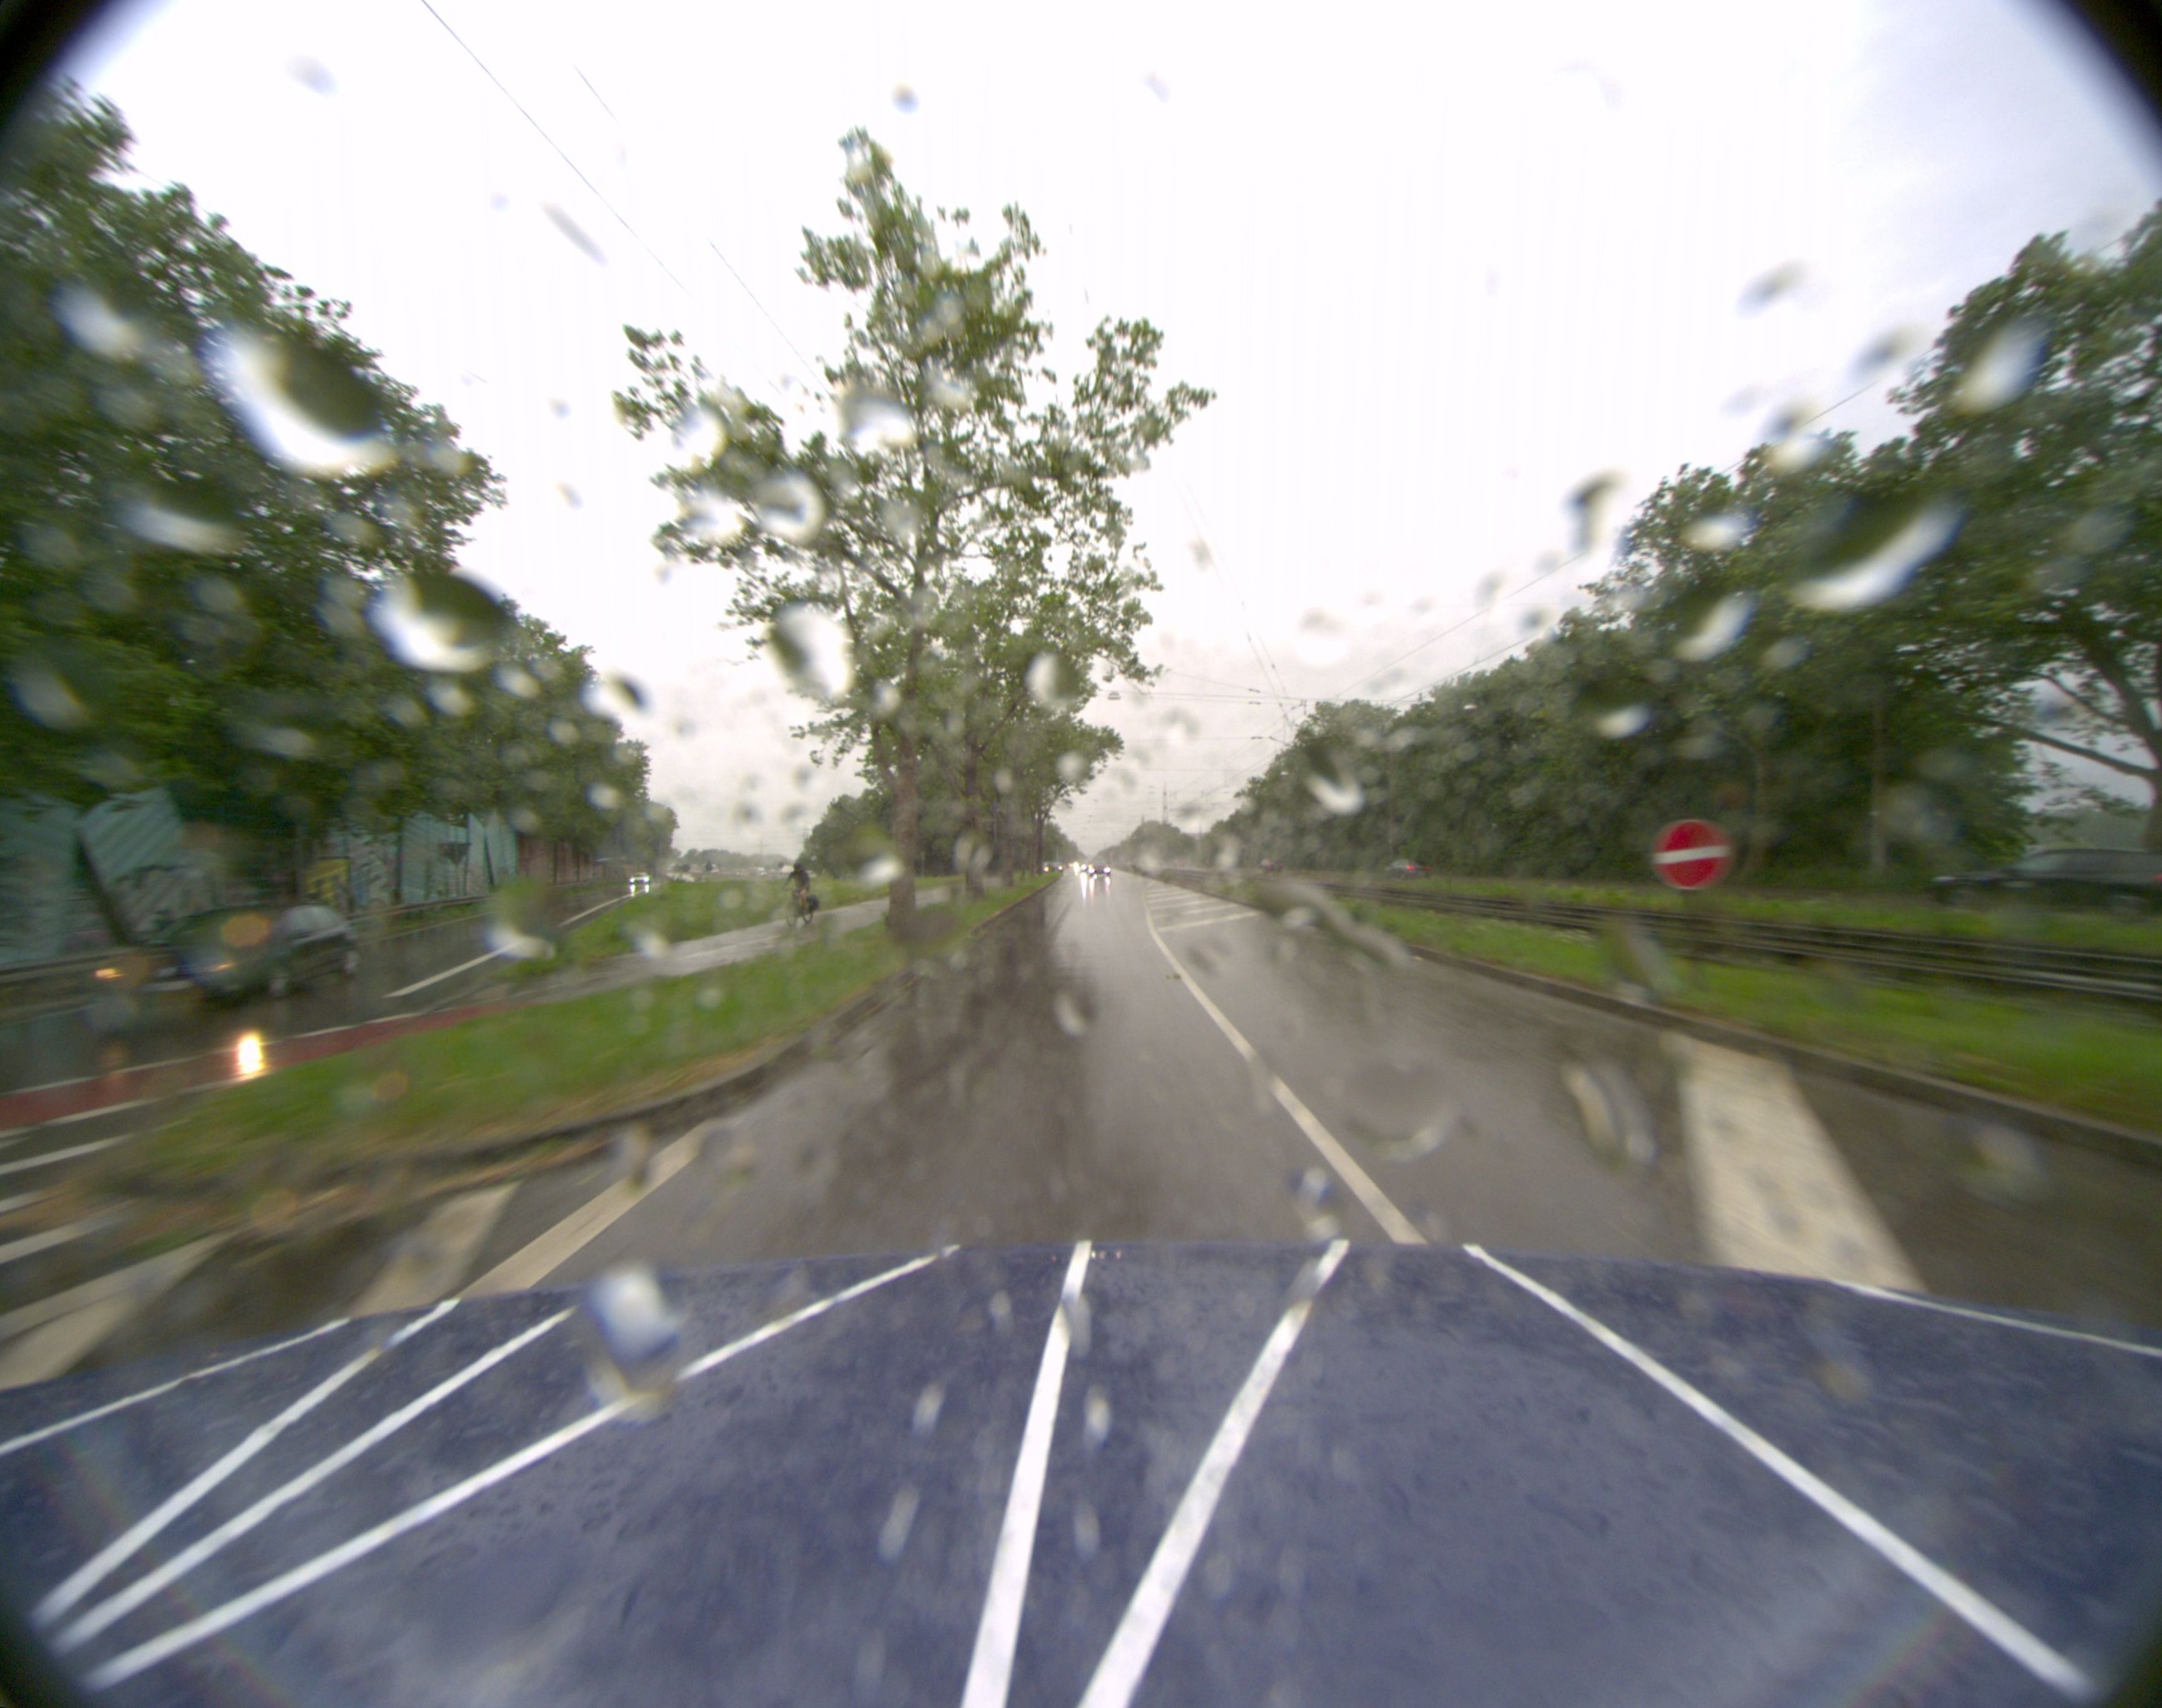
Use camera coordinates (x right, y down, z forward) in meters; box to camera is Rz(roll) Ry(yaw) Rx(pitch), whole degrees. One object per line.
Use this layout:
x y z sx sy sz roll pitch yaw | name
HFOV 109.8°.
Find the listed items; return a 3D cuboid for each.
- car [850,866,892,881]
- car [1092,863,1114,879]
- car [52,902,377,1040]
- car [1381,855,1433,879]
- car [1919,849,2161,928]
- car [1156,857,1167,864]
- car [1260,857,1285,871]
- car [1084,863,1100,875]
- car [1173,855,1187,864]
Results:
-21.358 1.973 77.401 4.002 1.412 1.750 0 0 -14 | car
2.080 1.583 72.415 1.971 1.412 4.000 0 0 0 | car
-13.740 1.699 12.507 1.871 1.527 4.507 -1 0 -26 | car
21.932 0.846 51.242 1.655 1.559 4.047 -2 0 -1 | car
22.455 0.685 17.175 2.218 1.519 4.278 -1 0 -3 | car
17.508 1.400 165.044 1.776 1.322 4.379 -1 0 -1 | car
20.468 1.063 81.359 1.687 1.398 3.939 -1 0 -1 | car
1.309 1.821 94.991 1.971 1.412 4.000 0 0 0 | car
17.349 0.973 133.224 1.695 1.514 4.955 -1 0 -1 | car
